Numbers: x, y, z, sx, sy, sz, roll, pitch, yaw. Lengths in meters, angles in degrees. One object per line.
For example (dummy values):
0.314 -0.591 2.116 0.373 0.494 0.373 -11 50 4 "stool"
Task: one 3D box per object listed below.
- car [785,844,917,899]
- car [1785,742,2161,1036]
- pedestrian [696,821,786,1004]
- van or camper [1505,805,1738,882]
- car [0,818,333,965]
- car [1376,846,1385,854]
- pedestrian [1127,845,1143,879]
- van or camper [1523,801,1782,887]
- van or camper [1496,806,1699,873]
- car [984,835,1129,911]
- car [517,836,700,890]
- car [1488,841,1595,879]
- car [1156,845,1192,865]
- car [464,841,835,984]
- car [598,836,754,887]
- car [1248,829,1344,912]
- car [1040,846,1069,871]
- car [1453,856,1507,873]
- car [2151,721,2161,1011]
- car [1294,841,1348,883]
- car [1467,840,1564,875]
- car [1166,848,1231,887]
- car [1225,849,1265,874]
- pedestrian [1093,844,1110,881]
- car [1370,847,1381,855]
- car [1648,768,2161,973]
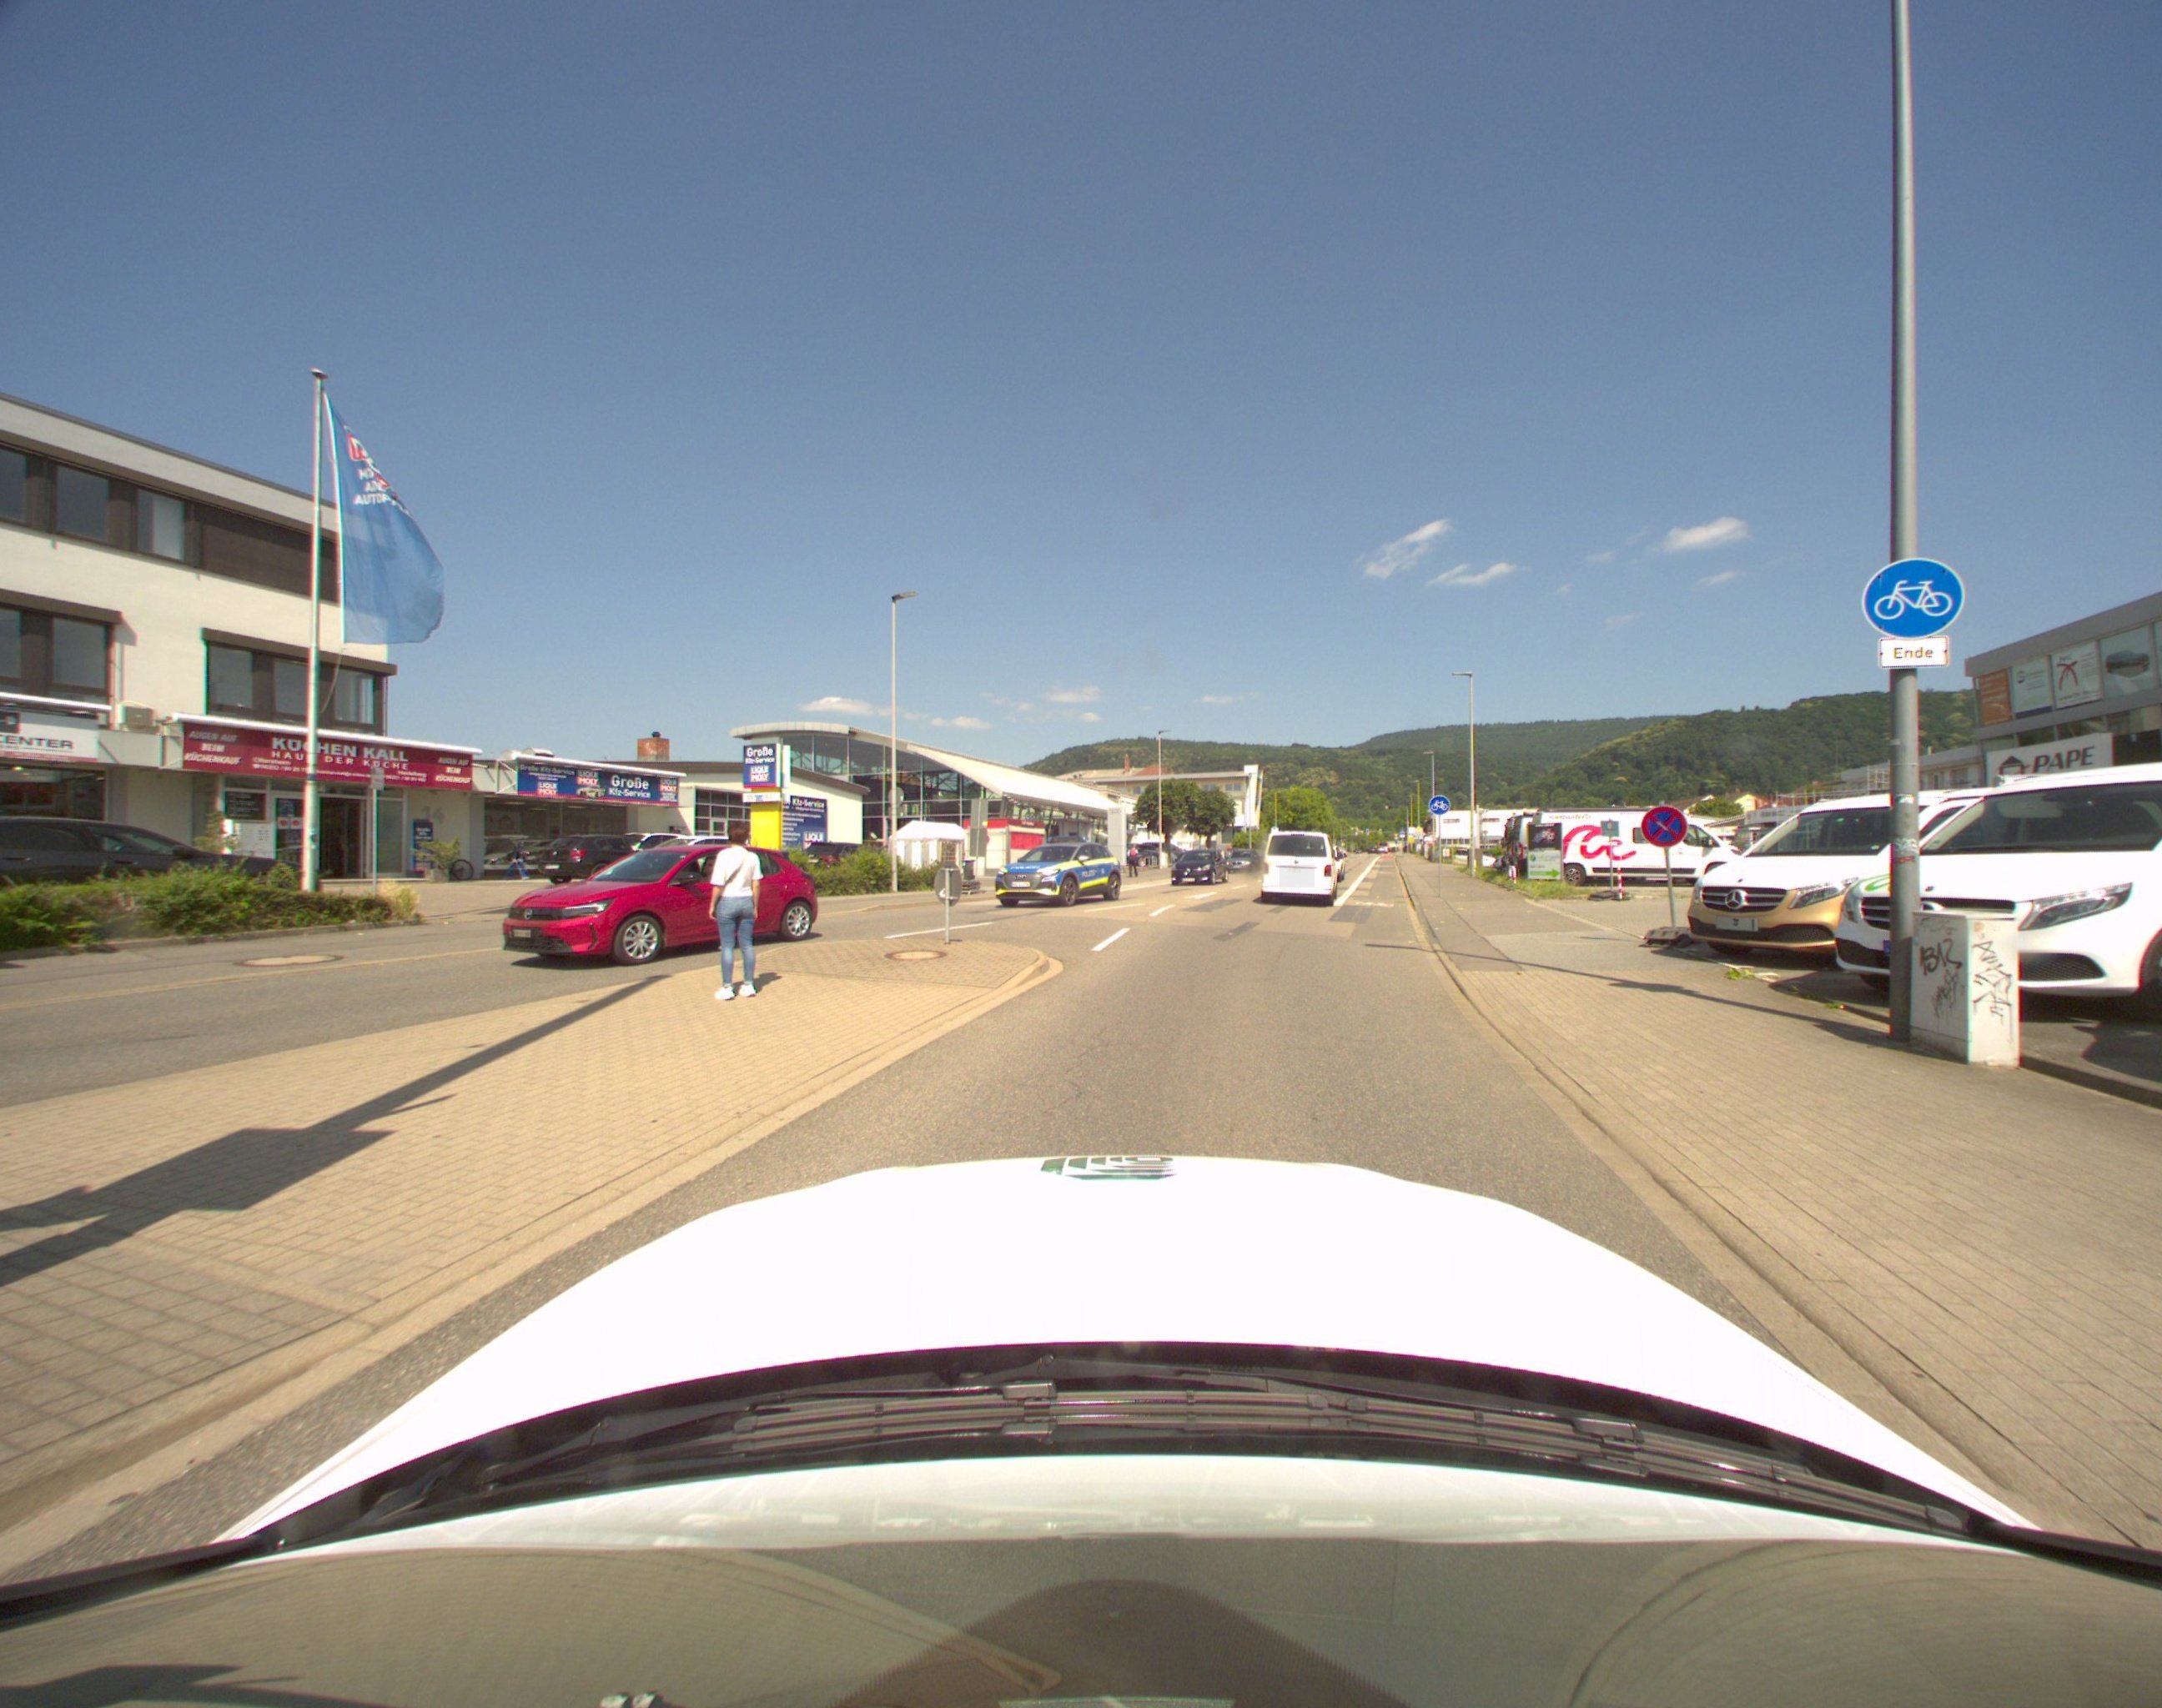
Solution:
-7.335 0.504 26.431 1.976 1.618 4.023 -1 0 24 "car"
9.172 0.167 6.959 5.132 2.013 1.924 -2 0 -9 "car"
-3.239 0.529 7.809 0.762 1.656 0.668 0 0 -21 "pedestrian"
19.510 -0.344 30.042 6.548 2.561 3.772 0 0 22 "van or camper"
-15.010 0.507 12.158 1.942 1.965 5.311 0 0 24 "car"
65.263 -0.852 177.442 1.977 1.684 4.020 -1 0 20 "car"
2.887 0.422 43.857 0.755 1.788 0.930 0 0 9 "pedestrian"
18.388 -0.292 26.776 6.447 2.561 2.990 0 0 22 "van or camper"
20.911 -0.533 33.530 6.548 2.561 3.418 0 0 22 "van or camper"
-0.501 0.424 21.226 1.891 1.760 4.478 -1 0 26 "car"
-13.638 0.225 23.852 2.009 1.427 4.338 -1 0 20 "car"
22.202 0.320 39.472 4.263 1.752 1.988 0 -2 22 "car"
7.498 0.089 65.978 1.747 1.585 3.646 0 0 -12 "car"
-5.508 0.594 11.045 1.824 1.464 4.168 1 2 25 "car"
-14.083 0.260 28.678 1.865 1.588 4.953 -2 -1 20 "car"
6.296 0.362 23.394 2.145 2.013 5.043 3 2 19 "car"
-1.702 0.257 53.872 1.739 1.585 3.661 0 0 1 "car"
32.524 0.852 66.476 1.663 1.310 3.670 0 0 -28 "car"
8.571 0.217 4.044 5.149 2.000 2.016 -1 -1 -13 "car"
10.796 0.351 36.430 1.977 1.707 4.020 2 0 21 "car"
22.562 0.228 42.507 4.263 1.752 1.988 0 -2 22 "car"
4.935 0.526 33.729 1.826 1.464 4.020 -1 0 20 "car"
10.051 0.429 49.814 1.826 1.464 4.020 -1 0 19 "car"
1.024 0.408 40.235 0.756 1.788 0.785 0 0 5 "pedestrian"
52.066 -0.576 143.860 1.704 1.303 4.020 -1 0 20 "car"
9.948 0.172 9.798 5.140 2.095 2.043 0 -2 -9 "car"
